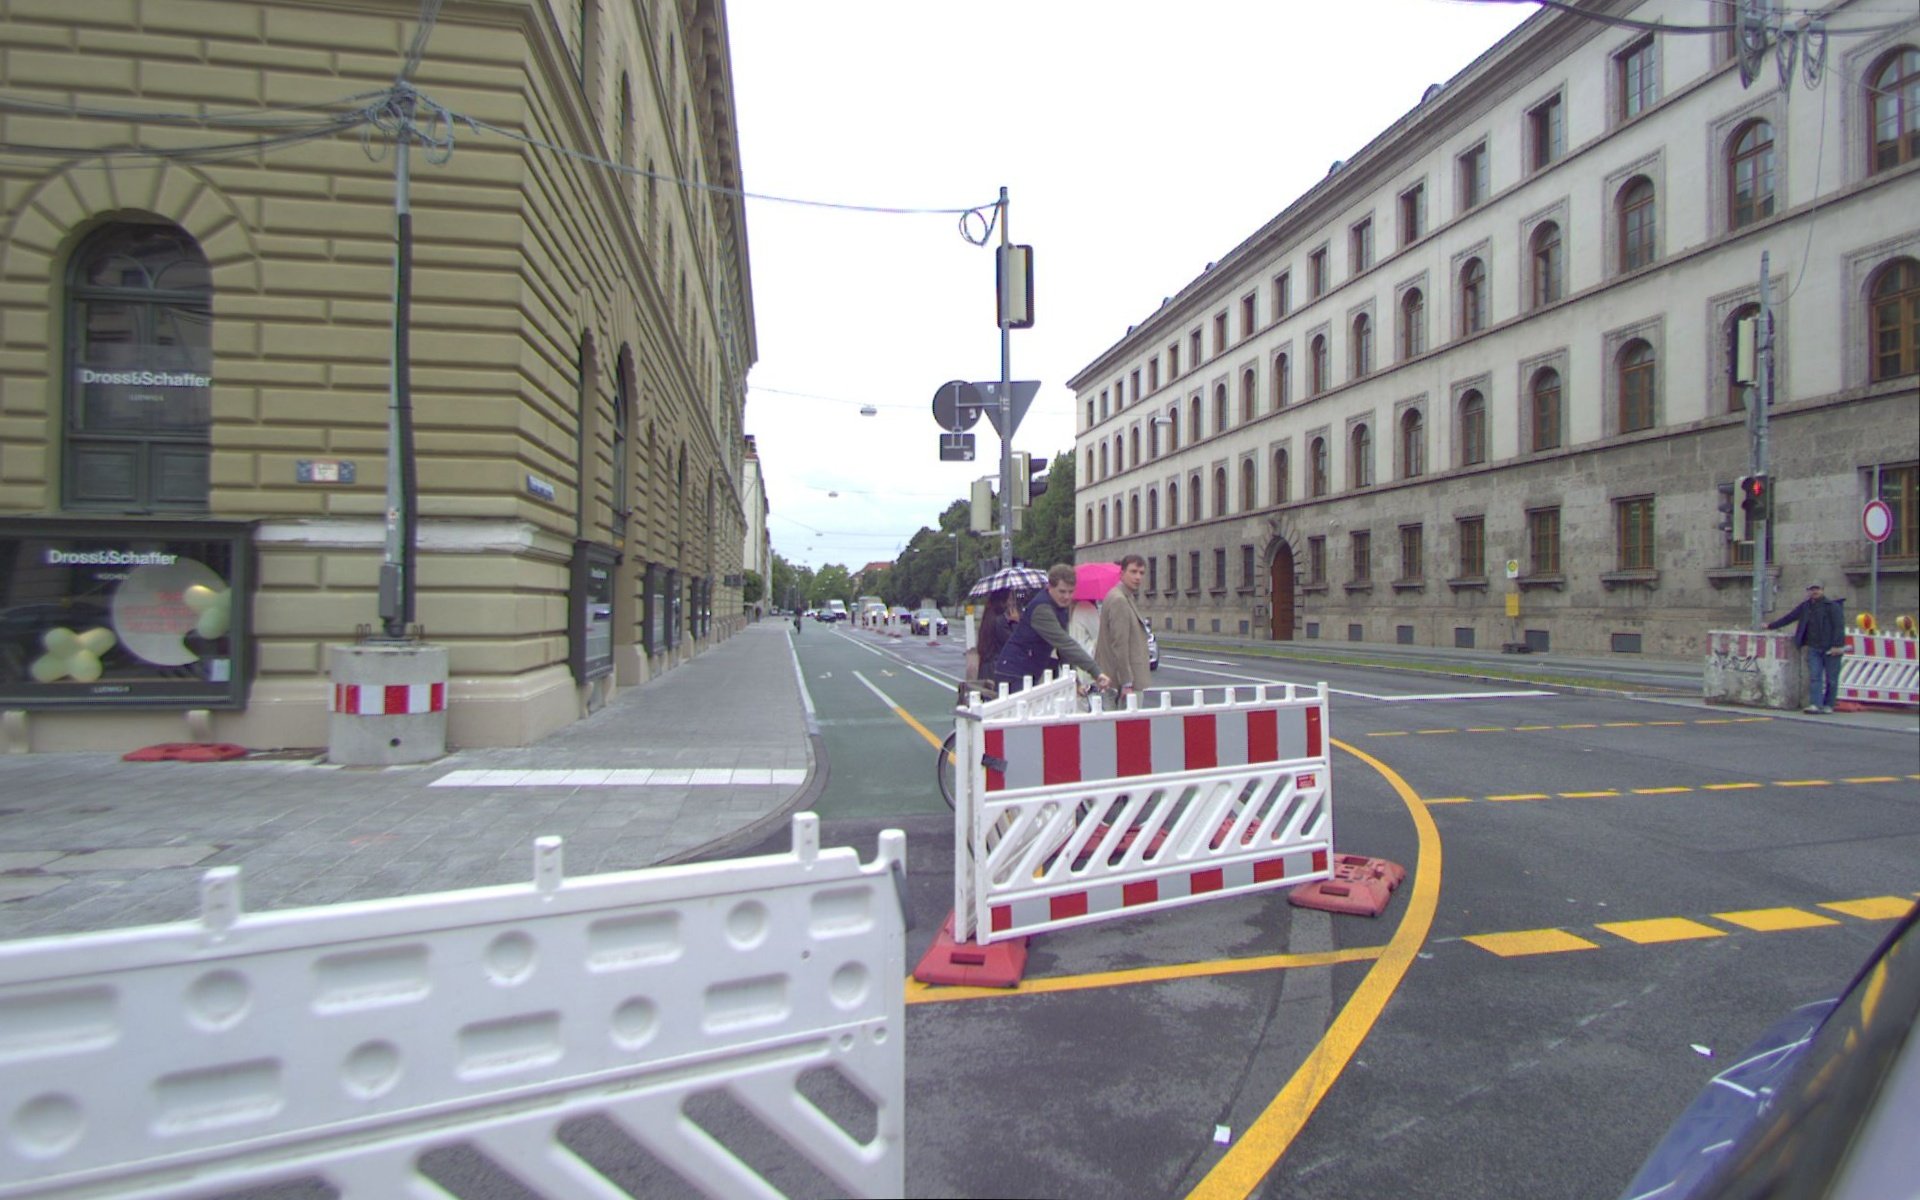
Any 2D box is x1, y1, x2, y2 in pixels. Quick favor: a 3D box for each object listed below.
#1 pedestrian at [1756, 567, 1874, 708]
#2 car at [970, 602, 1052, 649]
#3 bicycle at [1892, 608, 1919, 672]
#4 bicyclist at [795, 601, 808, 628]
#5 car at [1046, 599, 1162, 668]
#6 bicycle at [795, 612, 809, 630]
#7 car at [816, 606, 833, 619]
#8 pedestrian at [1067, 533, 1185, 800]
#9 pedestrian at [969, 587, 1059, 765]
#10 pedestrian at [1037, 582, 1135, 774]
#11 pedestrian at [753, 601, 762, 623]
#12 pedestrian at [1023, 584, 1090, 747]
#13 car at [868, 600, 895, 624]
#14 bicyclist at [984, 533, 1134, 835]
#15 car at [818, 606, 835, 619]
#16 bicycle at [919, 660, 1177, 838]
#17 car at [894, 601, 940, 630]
[{"bbox_3d":[11.186,0.472,13.274,0.503,1.765,1.045,0,-1,-19],"label":"pedestrian"},{"bbox_3d":[1.698,0.859,35.314,1.884,1.459,4.313,-2,0,-10],"label":"car"},{"bbox_3d":[19.752,0.790,19.608,0.773,1.258,2.453,-1,0,-12],"label":"bicycle"},{"bbox_3d":[-9.260,0.829,59.099,0.710,1.572,0.860,-1,-1,-10],"label":"bicyclist"},{"bbox_3d":[3.418,0.764,24.747,1.601,1.522,4.006,-1,0,-10],"label":"car"},{"bbox_3d":[-9.276,1.210,59.217,0.736,1.045,2.535,-1,0,-10],"label":"bicycle"},{"bbox_3d":[-14.569,1.315,108.695,1.705,1.337,4.006,-1,0,-10],"label":"car"},{"bbox_3d":[1.237,0.478,7.637,0.691,1.909,0.641,-1,-1,-5],"label":"pedestrian"},{"bbox_3d":[0.493,0.682,9.462,0.690,1.587,0.682,-1,-1,-7],"label":"pedestrian"},{"bbox_3d":[1.076,0.650,8.737,0.690,1.587,0.542,-1,-1,-7],"label":"pedestrian"},{"bbox_3d":[-17.710,1.027,88.533,0.642,1.898,0.827,1,-1,-10],"label":"pedestrian"},{"bbox_3d":[0.998,0.661,10.609,0.522,1.640,0.674,-1,-1,-7],"label":"pedestrian"},{"bbox_3d":[-6.846,1.005,87.744,1.959,2.039,4.006,0,-1,-10],"label":"car"},{"bbox_3d":[0.662,0.525,6.741,0.793,1.877,0.561,-2,-1,33],"label":"bicyclist"},{"bbox_3d":[-15.030,1.368,113.969,1.705,1.452,4.006,-1,0,-10],"label":"car"},{"bbox_3d":[0.565,0.939,6.804,1.644,1.024,0.580,-2,-1,33],"label":"bicycle"},{"bbox_3d":[-2.462,0.856,56.918,1.959,1.577,4.395,0,0,-10],"label":"car"}]
